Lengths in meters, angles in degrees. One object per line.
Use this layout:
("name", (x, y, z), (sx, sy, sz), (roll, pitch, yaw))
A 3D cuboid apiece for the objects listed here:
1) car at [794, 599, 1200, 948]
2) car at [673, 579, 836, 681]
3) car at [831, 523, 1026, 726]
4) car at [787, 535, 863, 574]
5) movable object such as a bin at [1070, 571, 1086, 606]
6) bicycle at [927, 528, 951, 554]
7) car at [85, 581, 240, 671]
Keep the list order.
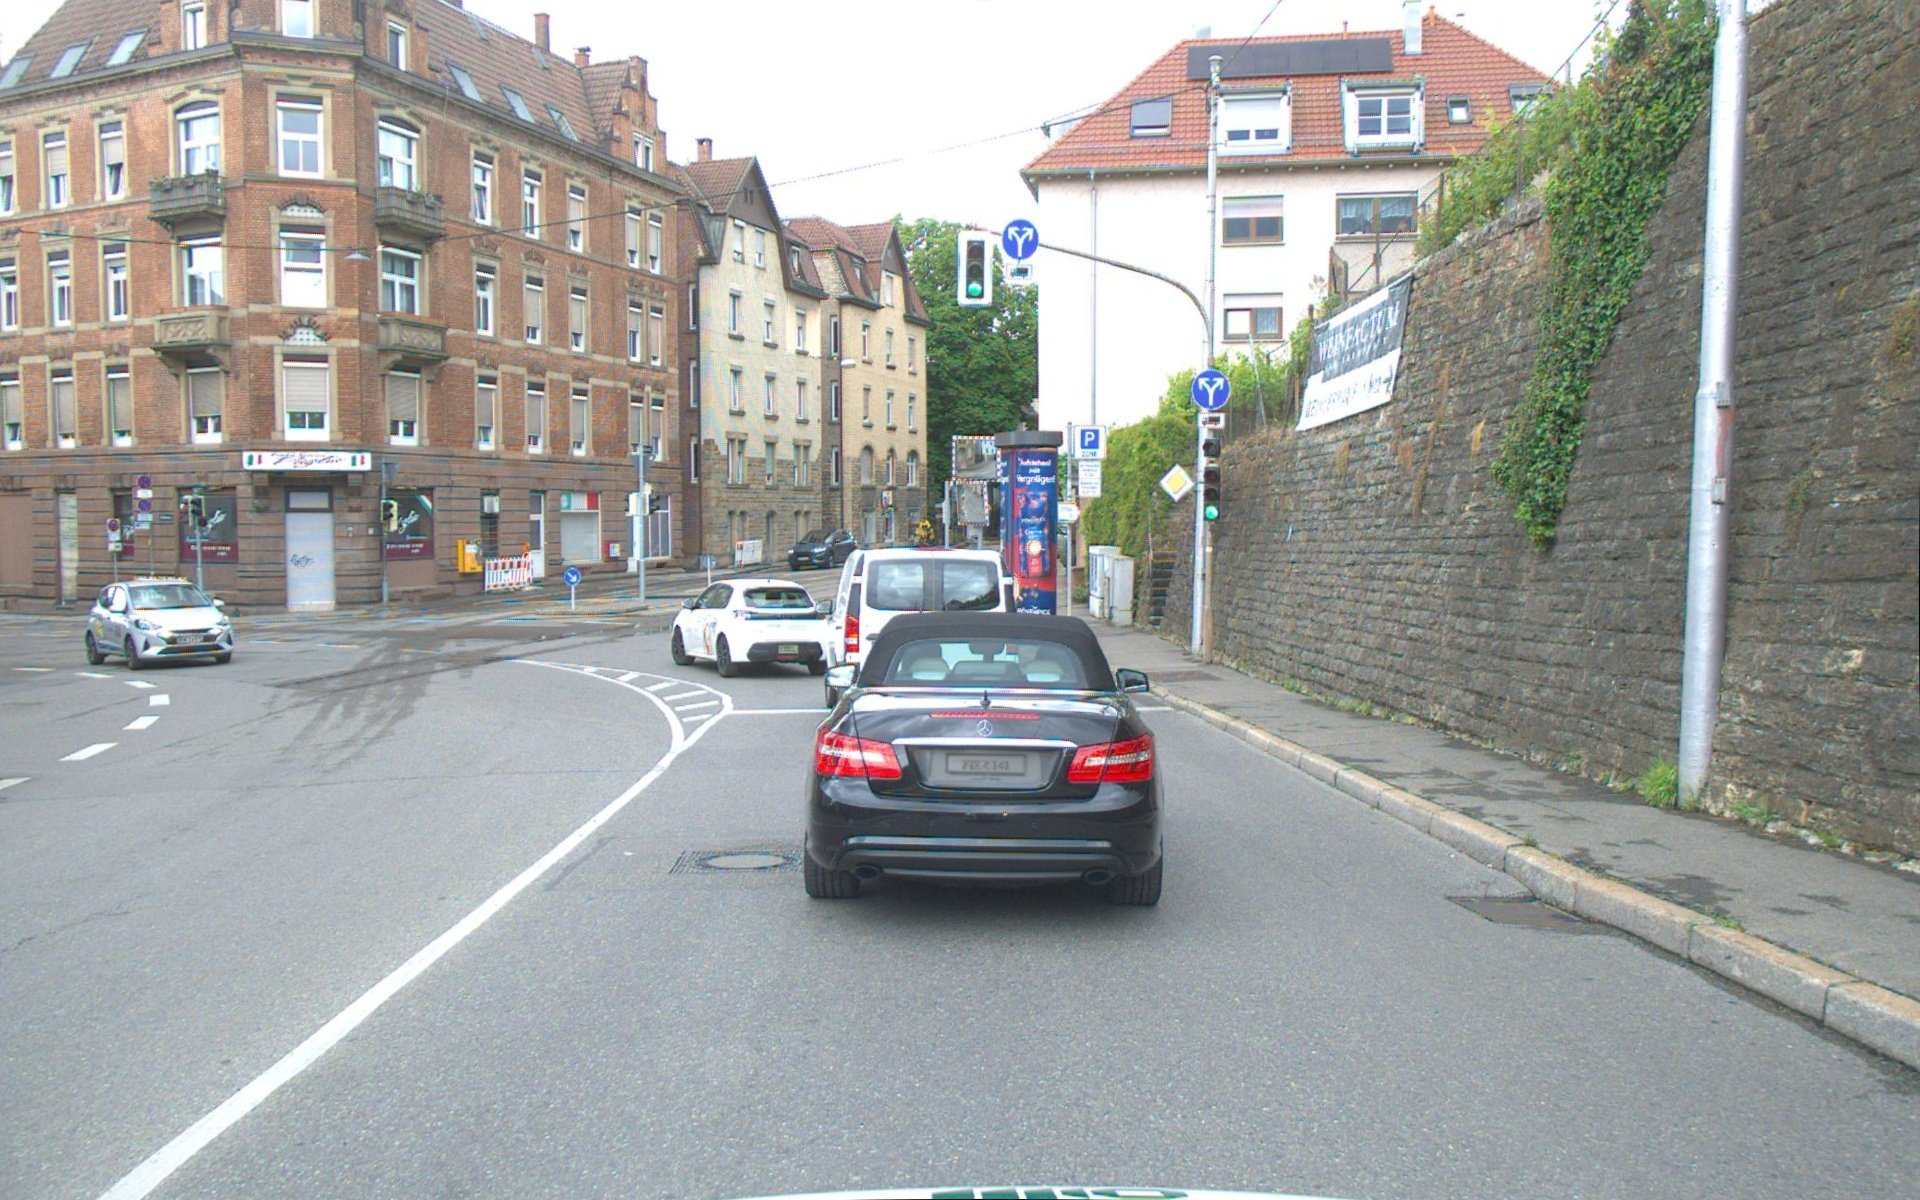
("car", (0.108, 0.744, 9.322), (1.726, 1.434, 4.397), (-1, 0, -2))
("car", (-3.392, 0.434, 26.697), (1.658, 1.491, 3.892), (-1, 0, -22))
("car", (-0.485, 0.259, 18.558), (1.855, 1.962, 4.640), (1, 0, -5))
("car", (-5.825, -1.990, 71.629), (1.951, 1.541, 4.291), (0, 4, 15))
("movable object such as a bin", (3.166, -0.319, 44.470), (0.337, 0.927, 0.494), (0, 0, -6))
("bicycle", (-1.172, -3.323, 92.902), (0.618, 1.329, 2.602), (-3, 2, 14))
("car", (-14.454, 0.453, 29.892), (1.660, 1.493, 3.589), (-2, 0, -41))
